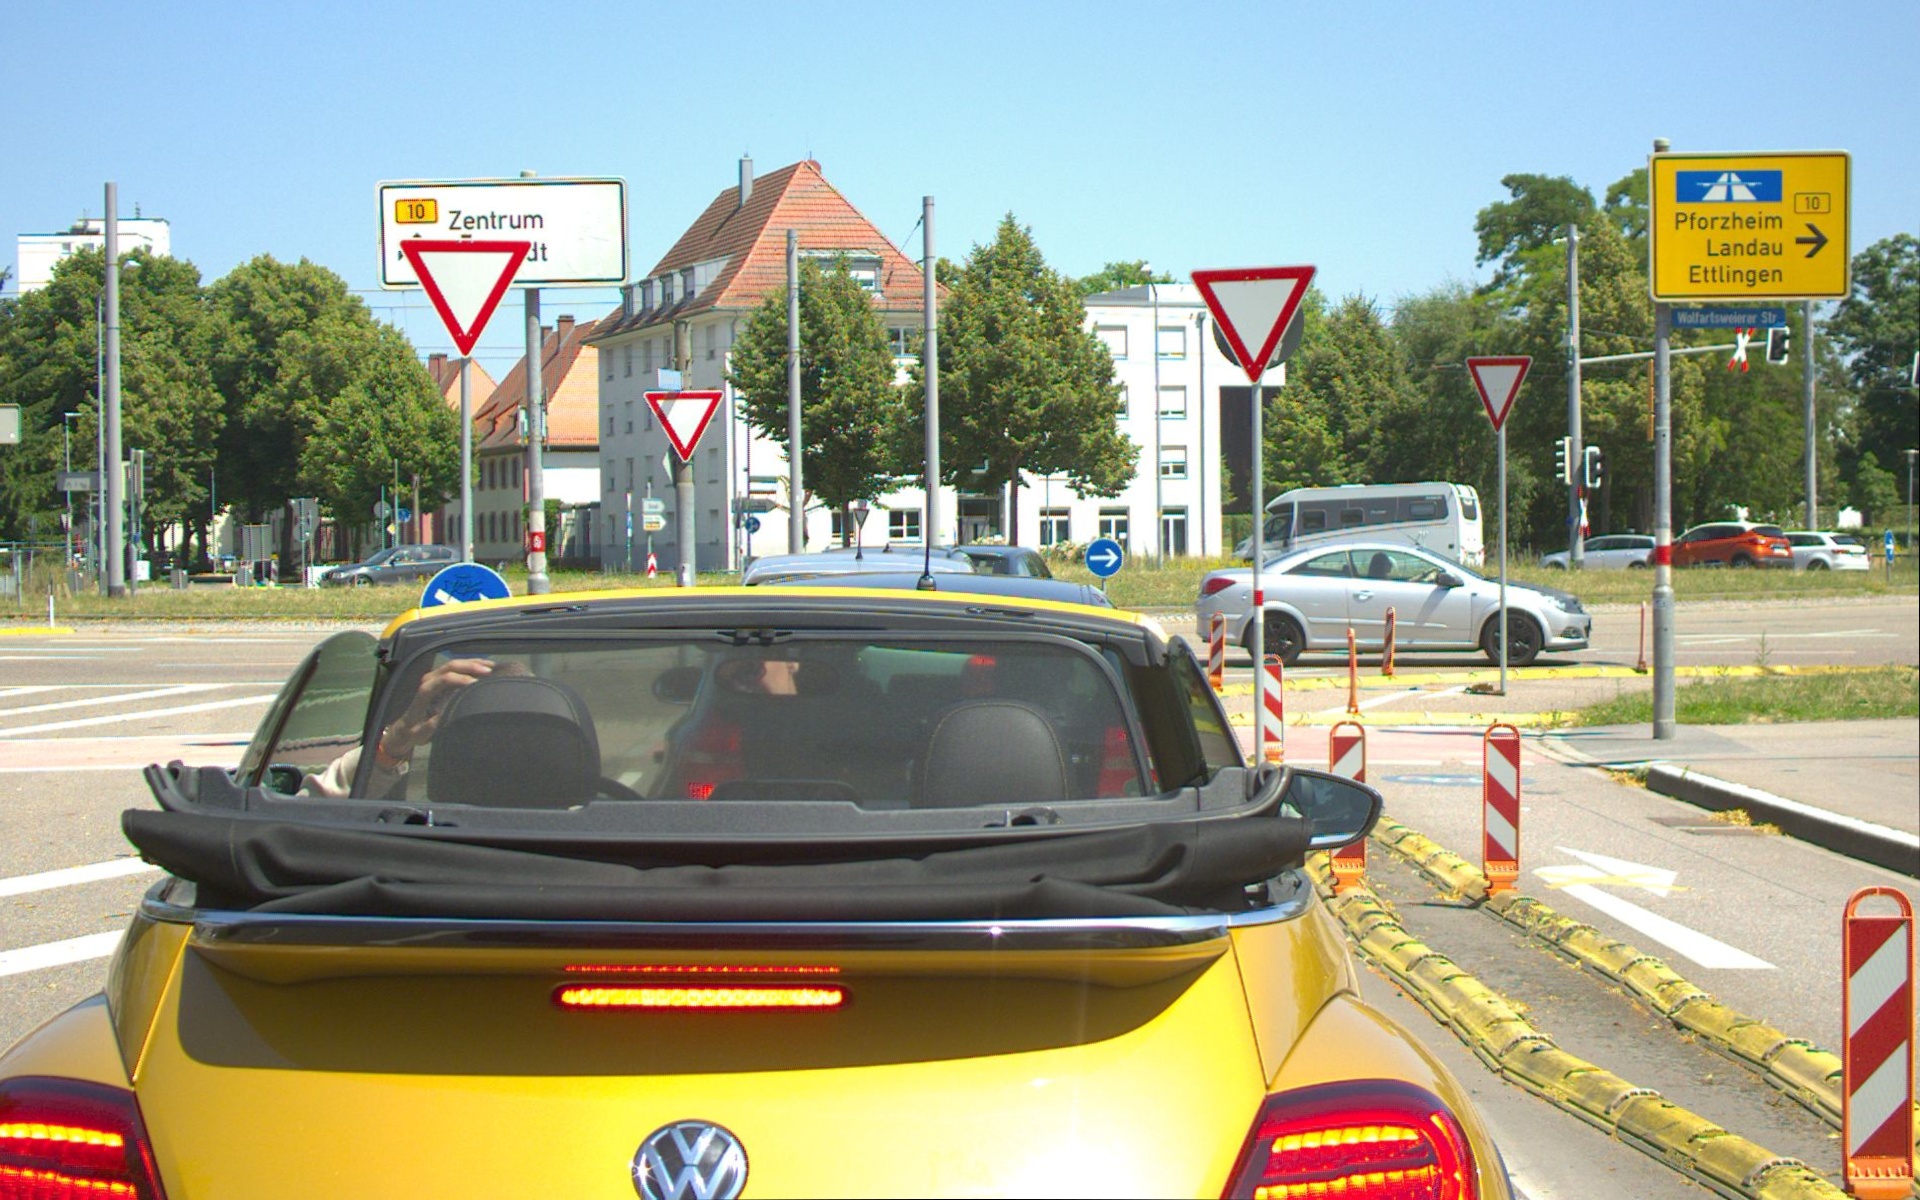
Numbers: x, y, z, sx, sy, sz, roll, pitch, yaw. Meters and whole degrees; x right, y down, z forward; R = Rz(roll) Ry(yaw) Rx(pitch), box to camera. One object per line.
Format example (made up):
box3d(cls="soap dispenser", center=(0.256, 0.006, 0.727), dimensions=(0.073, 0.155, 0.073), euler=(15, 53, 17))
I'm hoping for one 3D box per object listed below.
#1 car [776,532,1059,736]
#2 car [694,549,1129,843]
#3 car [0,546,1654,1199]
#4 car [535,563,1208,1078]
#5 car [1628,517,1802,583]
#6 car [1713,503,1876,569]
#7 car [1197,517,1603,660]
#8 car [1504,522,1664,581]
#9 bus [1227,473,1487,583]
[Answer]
box3d(cls="car", center=(-0.338, 0.205, 27.630), dimensions=(2.065, 1.476, 4.543), euler=(-1, 1, -1))
box3d(cls="car", center=(-0.255, 0.439, 18.569), dimensions=(2.065, 1.377, 4.258), euler=(1, 1, -1))
box3d(cls="car", center=(-0.316, 0.677, 5.101), dimensions=(1.765, 1.476, 4.258), euler=(1, 1, -1))
box3d(cls="car", center=(-0.269, 0.590, 11.680), dimensions=(1.851, 1.361, 4.258), euler=(-1, 1, -1))
box3d(cls="car", center=(20.195, -1.342, 92.129), dimensions=(1.843, 1.730, 4.444), euler=(0, 1, -35))
box3d(cls="car", center=(23.083, -1.779, 95.143), dimensions=(3.995, 1.766, 1.783), euler=(1, 1, 37))
box3d(cls="car", center=(4.925, -0.141, 38.775), dimensions=(4.406, 1.522, 2.000), euler=(-1, 1, 6))
box3d(cls="car", center=(19.016, -1.485, 104.828), dimensions=(4.439, 1.730, 1.845), euler=(1, 1, 35))
box3d(cls="bus", center=(11.727, -2.129, 101.652), dimensions=(7.263, 3.161, 2.258), euler=(1, 1, 25))
